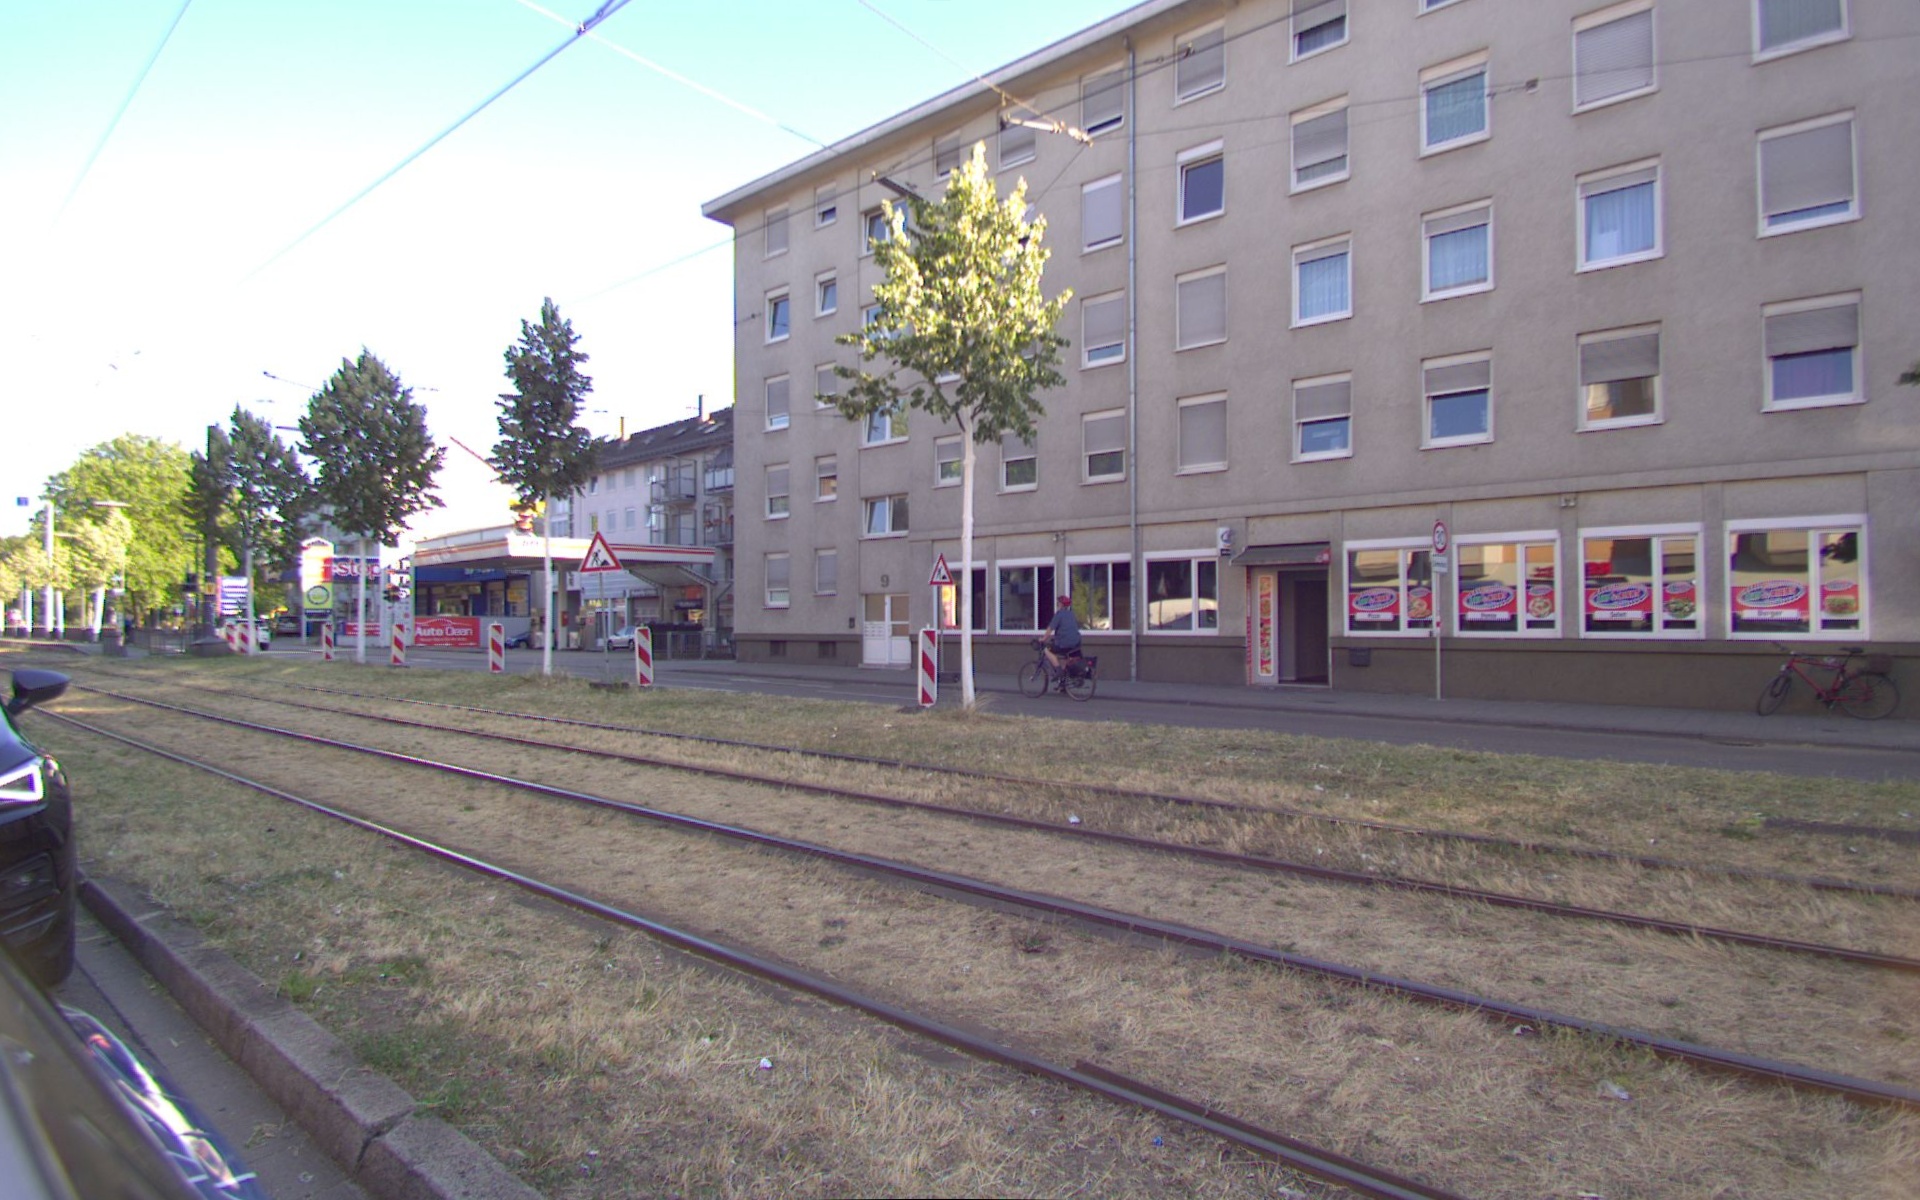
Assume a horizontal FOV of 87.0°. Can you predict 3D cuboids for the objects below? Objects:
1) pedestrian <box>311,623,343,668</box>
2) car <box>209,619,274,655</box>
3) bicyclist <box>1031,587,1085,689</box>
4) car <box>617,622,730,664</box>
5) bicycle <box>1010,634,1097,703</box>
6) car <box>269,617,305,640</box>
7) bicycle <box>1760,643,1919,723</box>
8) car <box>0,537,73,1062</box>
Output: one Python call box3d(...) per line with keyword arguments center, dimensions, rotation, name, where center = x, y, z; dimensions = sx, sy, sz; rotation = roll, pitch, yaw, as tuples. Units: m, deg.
box3d(center=(-18.282, 1.303, 29.228), dimensions=(0.581, 1.280, 0.655), rotation=(-3, -1, 42), name="pedestrian")
box3d(center=(-37.077, 1.864, 52.186), dimensions=(4.394, 1.748, 1.971), rotation=(-1, -1, 44), name="car")
box3d(center=(1.878, 0.725, 19.389), dimensions=(0.643, 1.897, 0.810), rotation=(2, -3, -40), name="bicyclist")
box3d(center=(-10.743, 1.620, 38.107), dimensions=(1.906, 1.481, 3.680), rotation=(-4, -4, 40), name="car")
box3d(center=(1.779, 1.292, 19.476), dimensions=(0.449, 1.267, 1.873), rotation=(0, -2, -40), name="bicycle")
box3d(center=(-49.836, 2.107, 74.930), dimensions=(1.756, 1.567, 4.006), rotation=(-1, 0, -40), name="car")
box3d(center=(12.773, 1.173, 14.651), dimensions=(1.844, 1.031, 0.601), rotation=(-1, 0, 41), name="bicycle")
box3d(center=(-5.051, 0.678, 4.057), dimensions=(3.998, 1.690, 1.752), rotation=(-1, -1, 41), name="car")
